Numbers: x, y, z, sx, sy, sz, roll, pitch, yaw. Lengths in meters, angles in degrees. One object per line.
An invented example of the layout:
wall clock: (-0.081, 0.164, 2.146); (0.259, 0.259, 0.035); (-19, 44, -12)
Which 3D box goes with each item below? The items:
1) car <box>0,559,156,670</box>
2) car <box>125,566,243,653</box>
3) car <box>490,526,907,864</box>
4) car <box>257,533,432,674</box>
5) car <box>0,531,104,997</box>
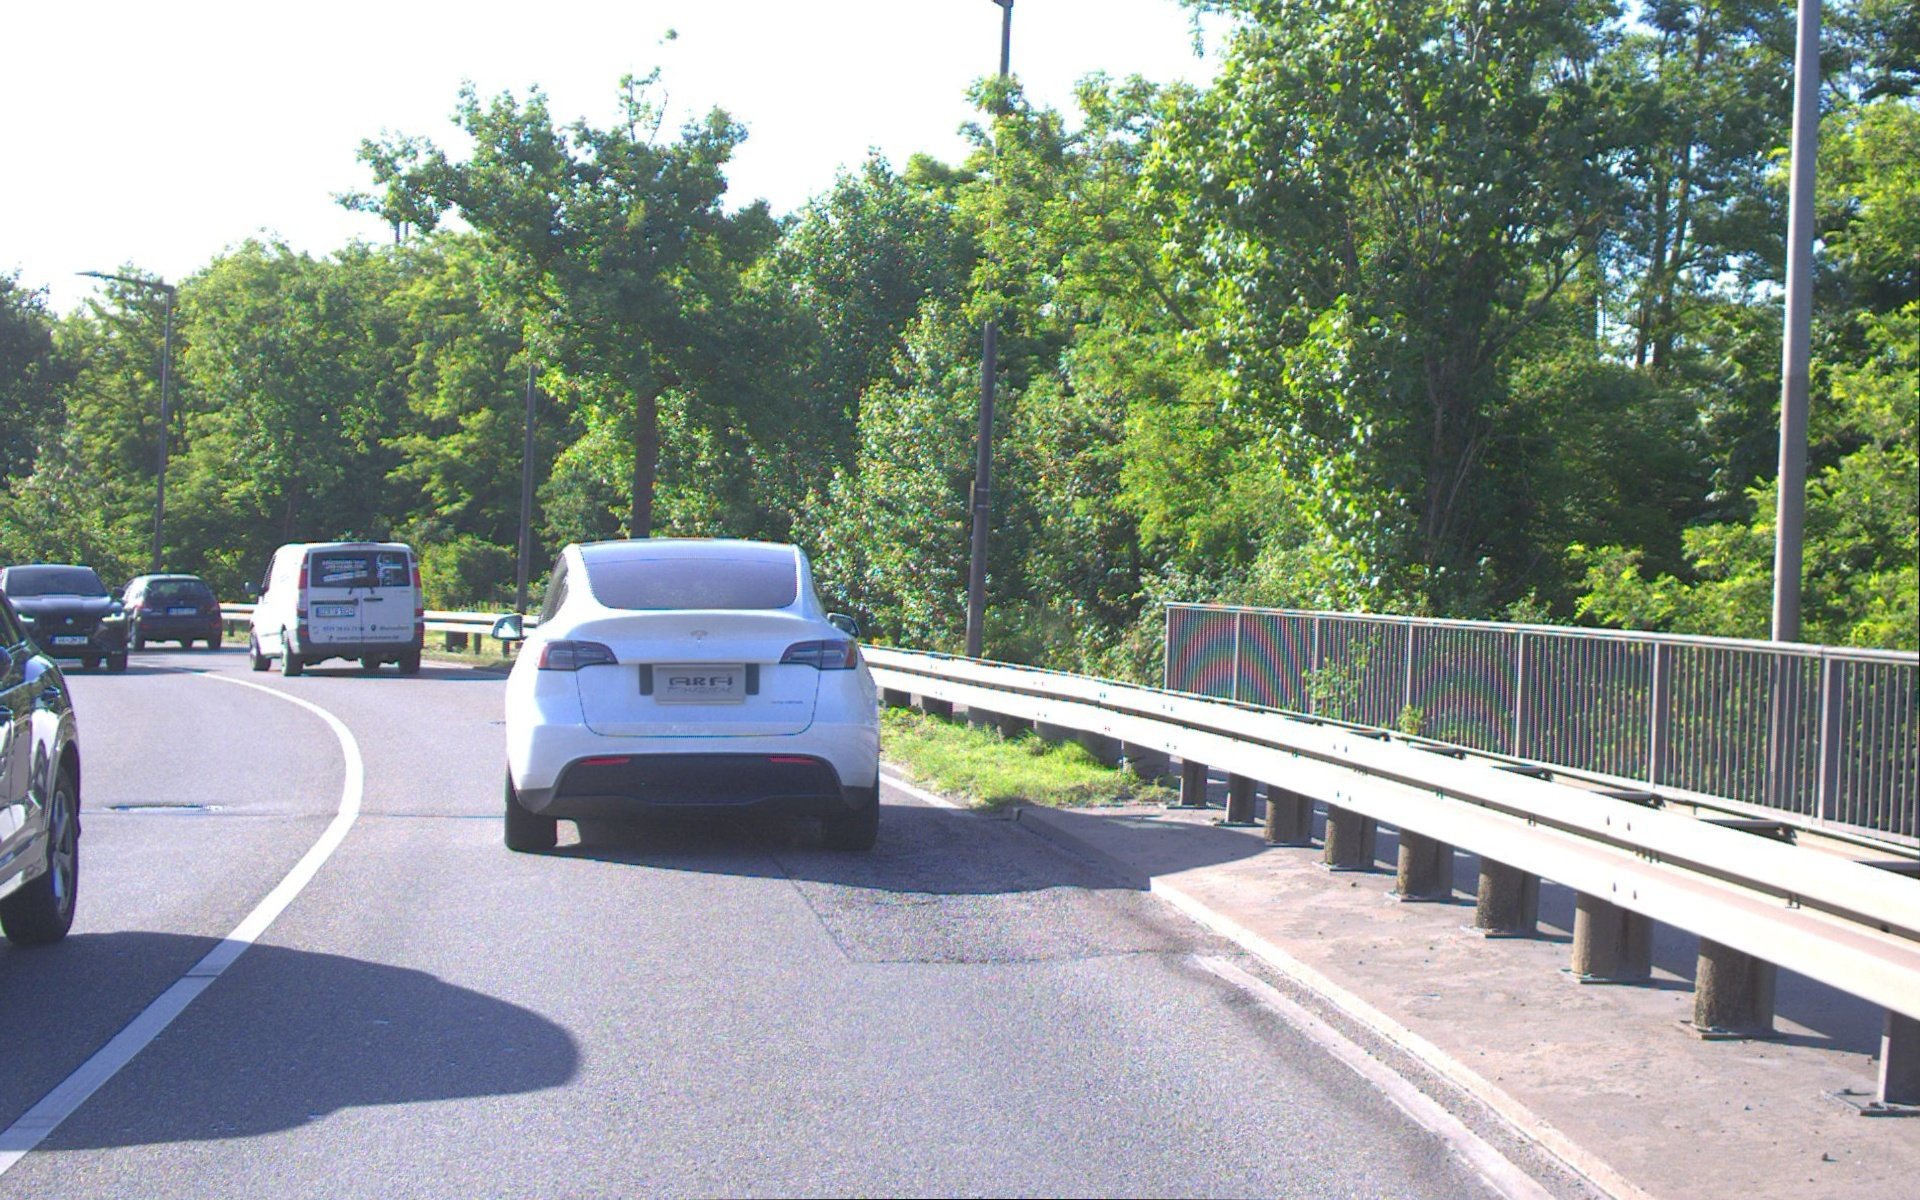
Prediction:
car: (-13.790, 0.184, 53.461); (1.898, 1.637, 4.465); (0, 1, -21)
car: (-14.824, 0.148, 65.569); (1.859, 1.579, 3.916); (0, 1, -18)
car: (-1.541, 0.434, 18.760); (1.985, 1.632, 4.063); (0, 1, -8)
car: (-8.939, 0.010, 49.648); (2.004, 1.934, 4.469); (0, 1, -16)
car: (-4.135, 0.539, 11.699); (1.823, 1.546, 4.185); (0, 1, -6)
